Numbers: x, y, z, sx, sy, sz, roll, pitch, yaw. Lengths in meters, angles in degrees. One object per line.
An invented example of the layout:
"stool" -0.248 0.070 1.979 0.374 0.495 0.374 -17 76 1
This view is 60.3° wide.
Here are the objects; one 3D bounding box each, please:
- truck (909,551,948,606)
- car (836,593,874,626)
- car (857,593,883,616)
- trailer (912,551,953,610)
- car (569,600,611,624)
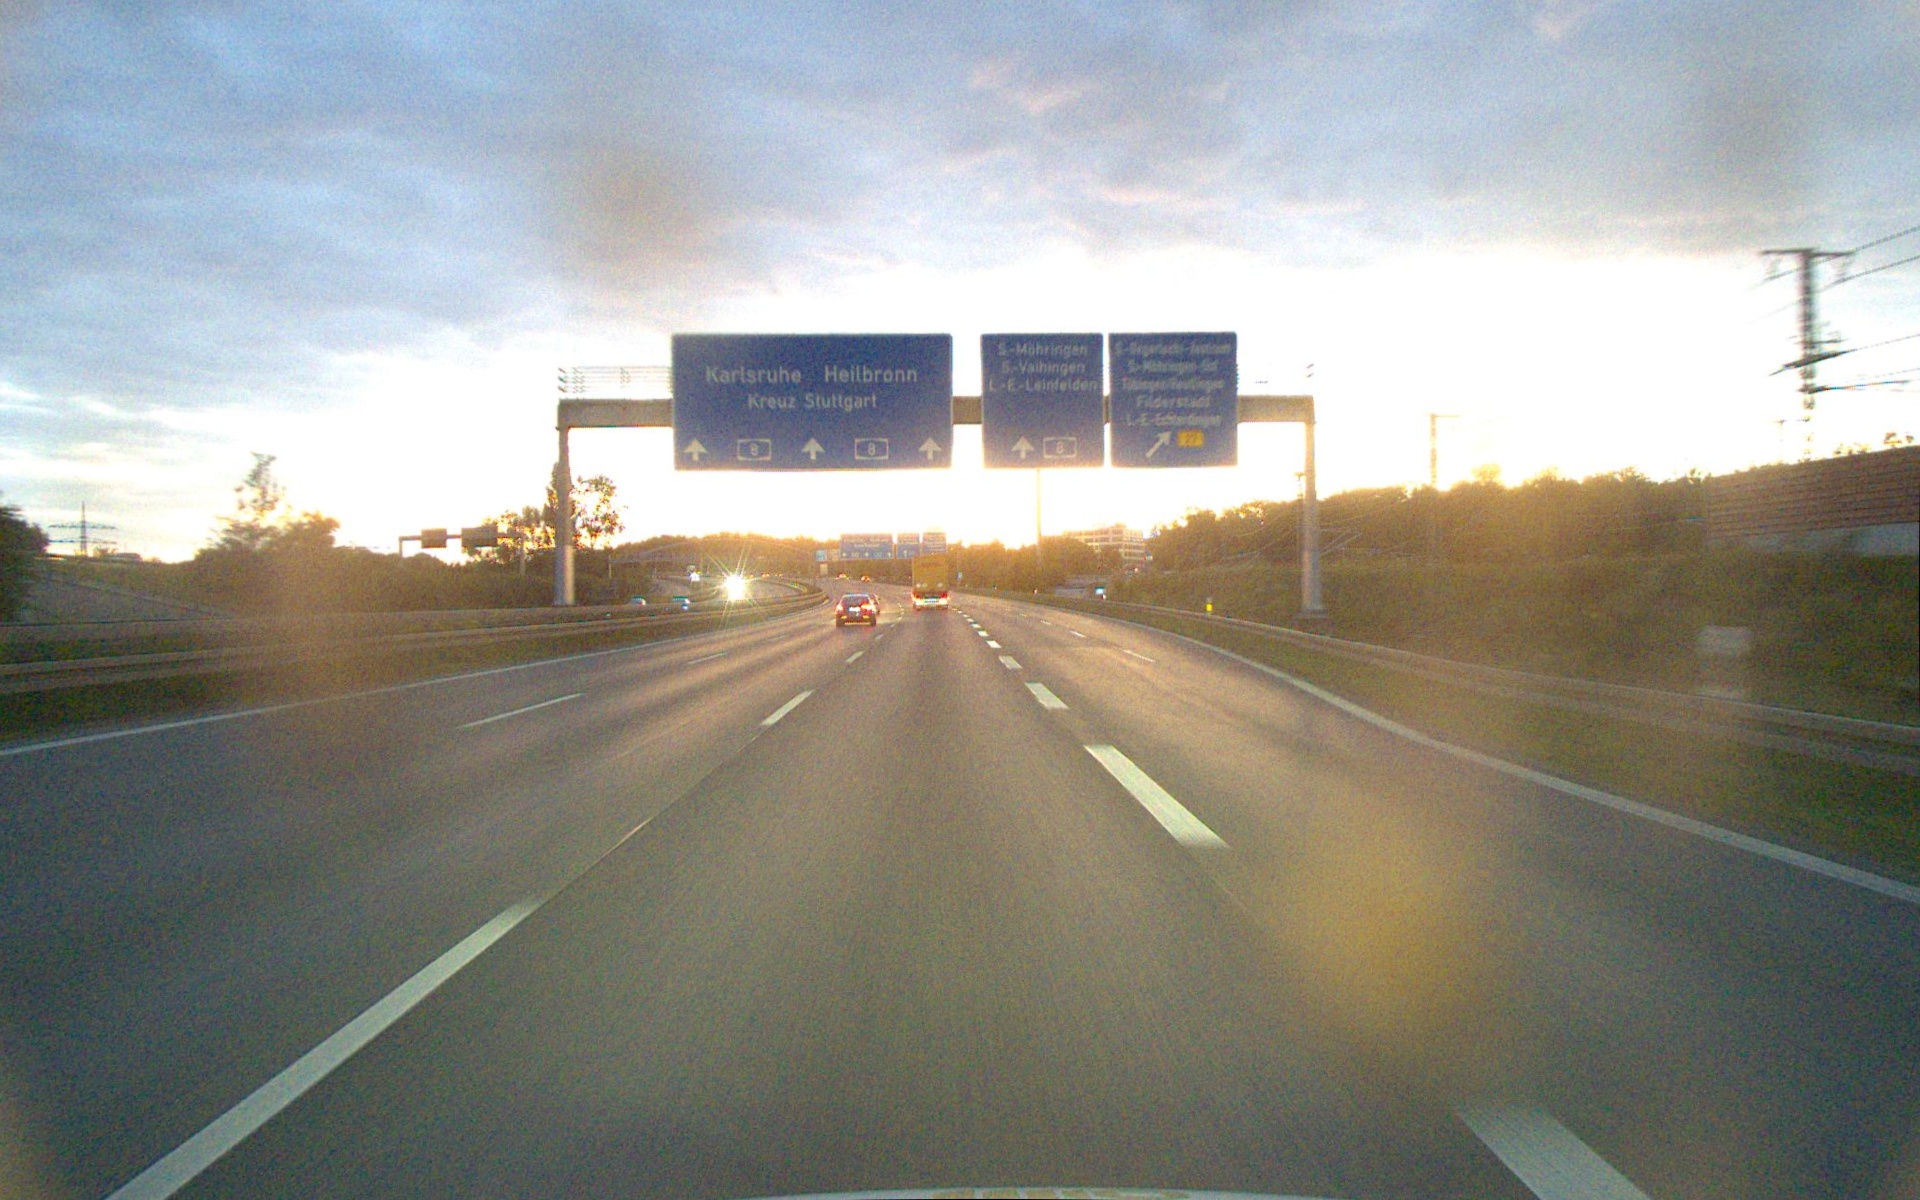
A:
"truck" -2.649 -1.809 134.100 2.637 4.141 10.515 -2 1 -3
"car" -4.949 0.427 77.600 1.656 1.426 3.405 -3 0 -5
"car" -6.031 0.314 111.043 1.656 1.426 3.407 -3 0 -3
"trailer" -2.124 -1.534 124.450 2.668 4.141 8.826 -2 1 -3
"car" -23.170 0.745 103.726 1.655 1.426 4.428 1 -1 -1
